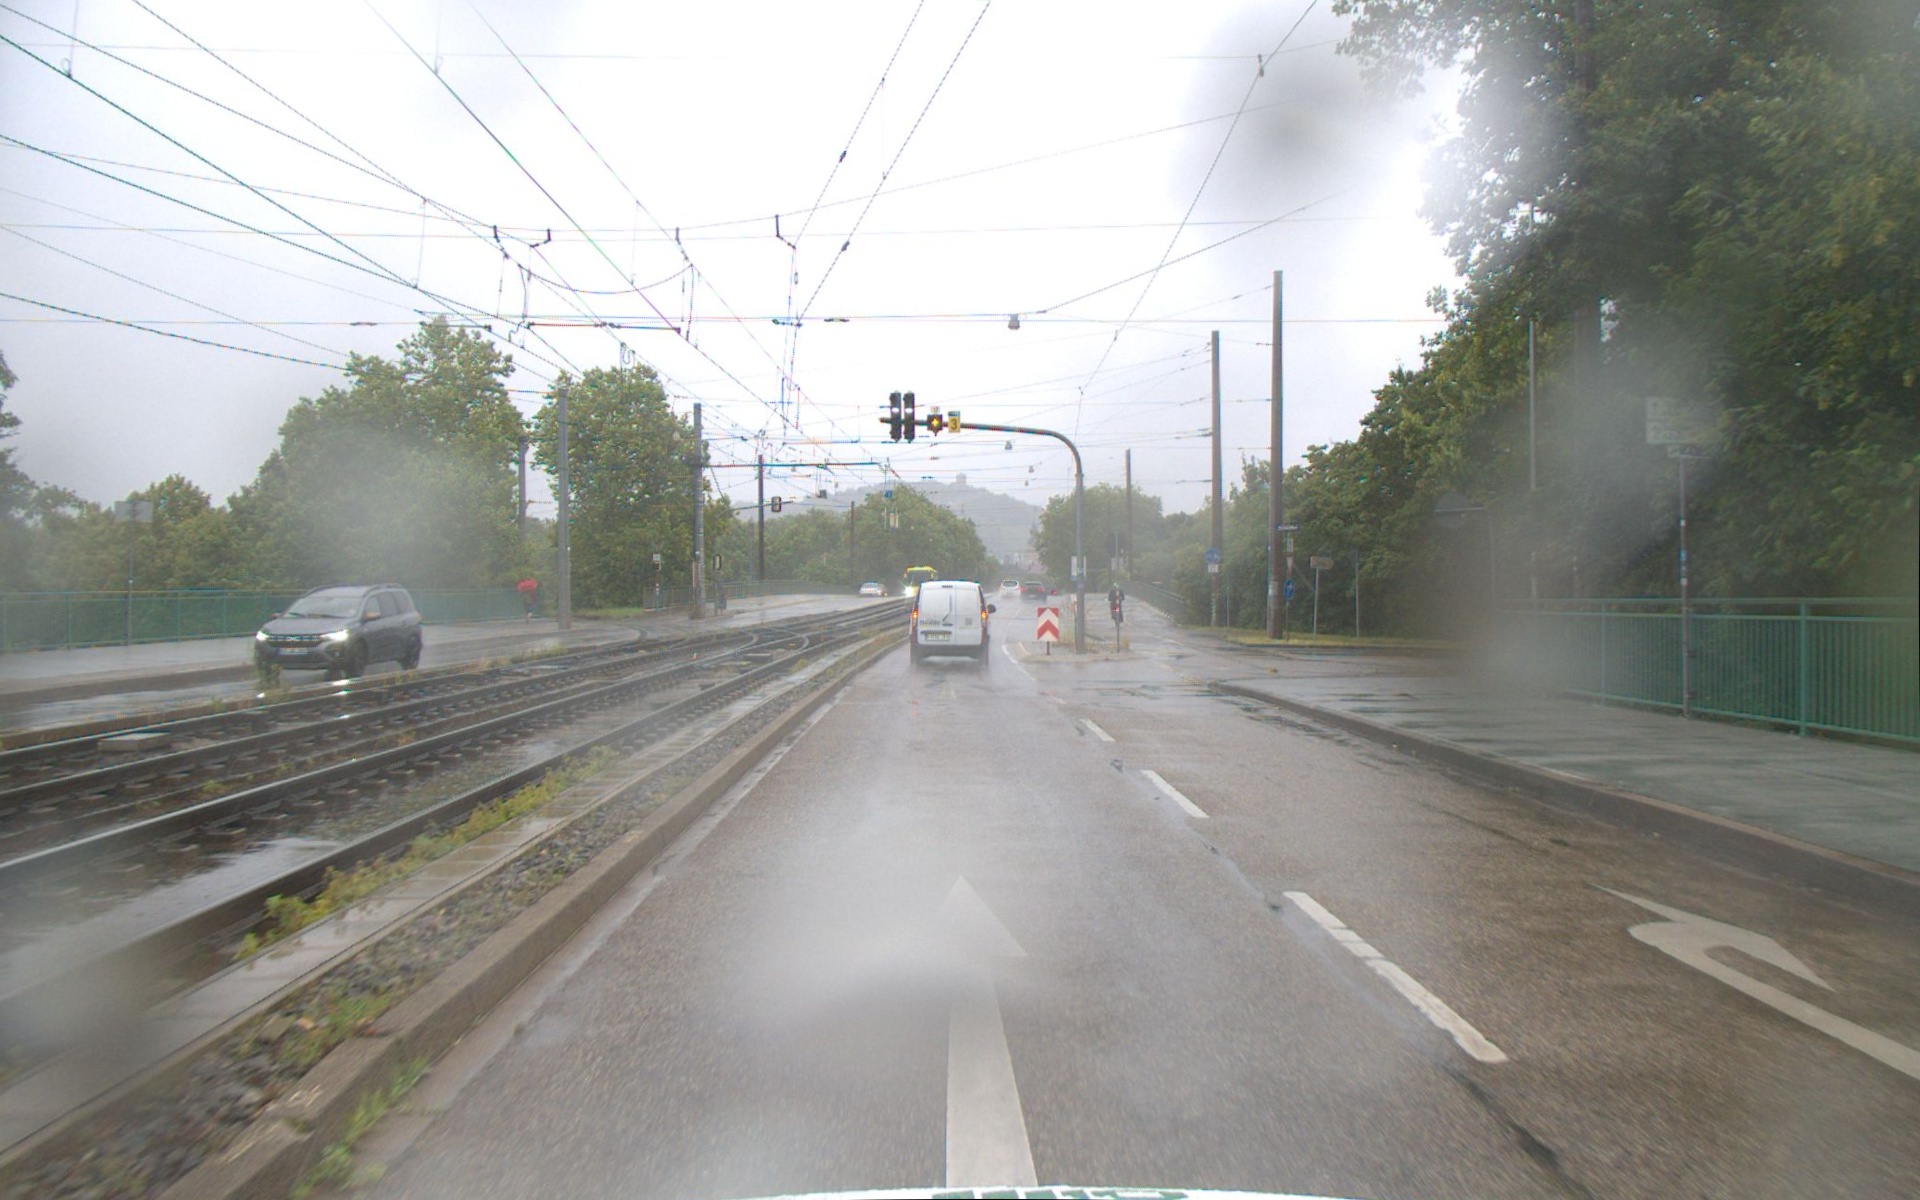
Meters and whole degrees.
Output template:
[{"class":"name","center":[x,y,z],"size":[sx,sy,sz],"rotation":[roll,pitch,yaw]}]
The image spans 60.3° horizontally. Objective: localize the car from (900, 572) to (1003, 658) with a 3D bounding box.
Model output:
[{"class":"car","center":[-0.124,0.324,36.893],"size":[1.951,1.756,4.002],"rotation":[1,0,4]}]

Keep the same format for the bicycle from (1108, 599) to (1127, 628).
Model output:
[{"class":"bicycle","center":[6.568,0.548,69.147],"size":[0.708,1.148,2.169],"rotation":[1,1,3]}]

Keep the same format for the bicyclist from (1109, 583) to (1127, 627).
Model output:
[{"class":"bicyclist","center":[6.593,0.209,69.078],"size":[0.710,1.794,0.949],"rotation":[1,0,3]}]

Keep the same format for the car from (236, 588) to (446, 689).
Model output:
[{"class":"car","center":[-11.415,0.645,30.954],"size":[1.953,1.677,5.370],"rotation":[1,0,-1]}]

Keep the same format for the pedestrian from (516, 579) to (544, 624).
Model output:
[{"class":"pedestrian","center":[-18.134,0.061,69.825],"size":[0.846,1.850,1.043],"rotation":[1,0,1]}]

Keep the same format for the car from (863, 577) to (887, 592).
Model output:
[{"class":"car","center":[-8.137,-1.505,158.765],"size":[1.894,1.252,4.102],"rotation":[-2,2,3]}]

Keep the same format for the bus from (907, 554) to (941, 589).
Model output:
[{"class":"bus","center":[-3.809,-3.077,176.544],"size":[2.652,3.398,11.000],"rotation":[-2,2,3]}]

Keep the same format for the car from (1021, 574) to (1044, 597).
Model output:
[{"class":"car","center":[4.996,-0.997,114.539],"size":[1.421,1.525,2.982],"rotation":[1,0,-1]}]

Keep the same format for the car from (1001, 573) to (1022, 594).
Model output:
[{"class":"car","center":[3.974,-1.262,127.817],"size":[1.421,1.525,2.982],"rotation":[1,0,-1]}]
